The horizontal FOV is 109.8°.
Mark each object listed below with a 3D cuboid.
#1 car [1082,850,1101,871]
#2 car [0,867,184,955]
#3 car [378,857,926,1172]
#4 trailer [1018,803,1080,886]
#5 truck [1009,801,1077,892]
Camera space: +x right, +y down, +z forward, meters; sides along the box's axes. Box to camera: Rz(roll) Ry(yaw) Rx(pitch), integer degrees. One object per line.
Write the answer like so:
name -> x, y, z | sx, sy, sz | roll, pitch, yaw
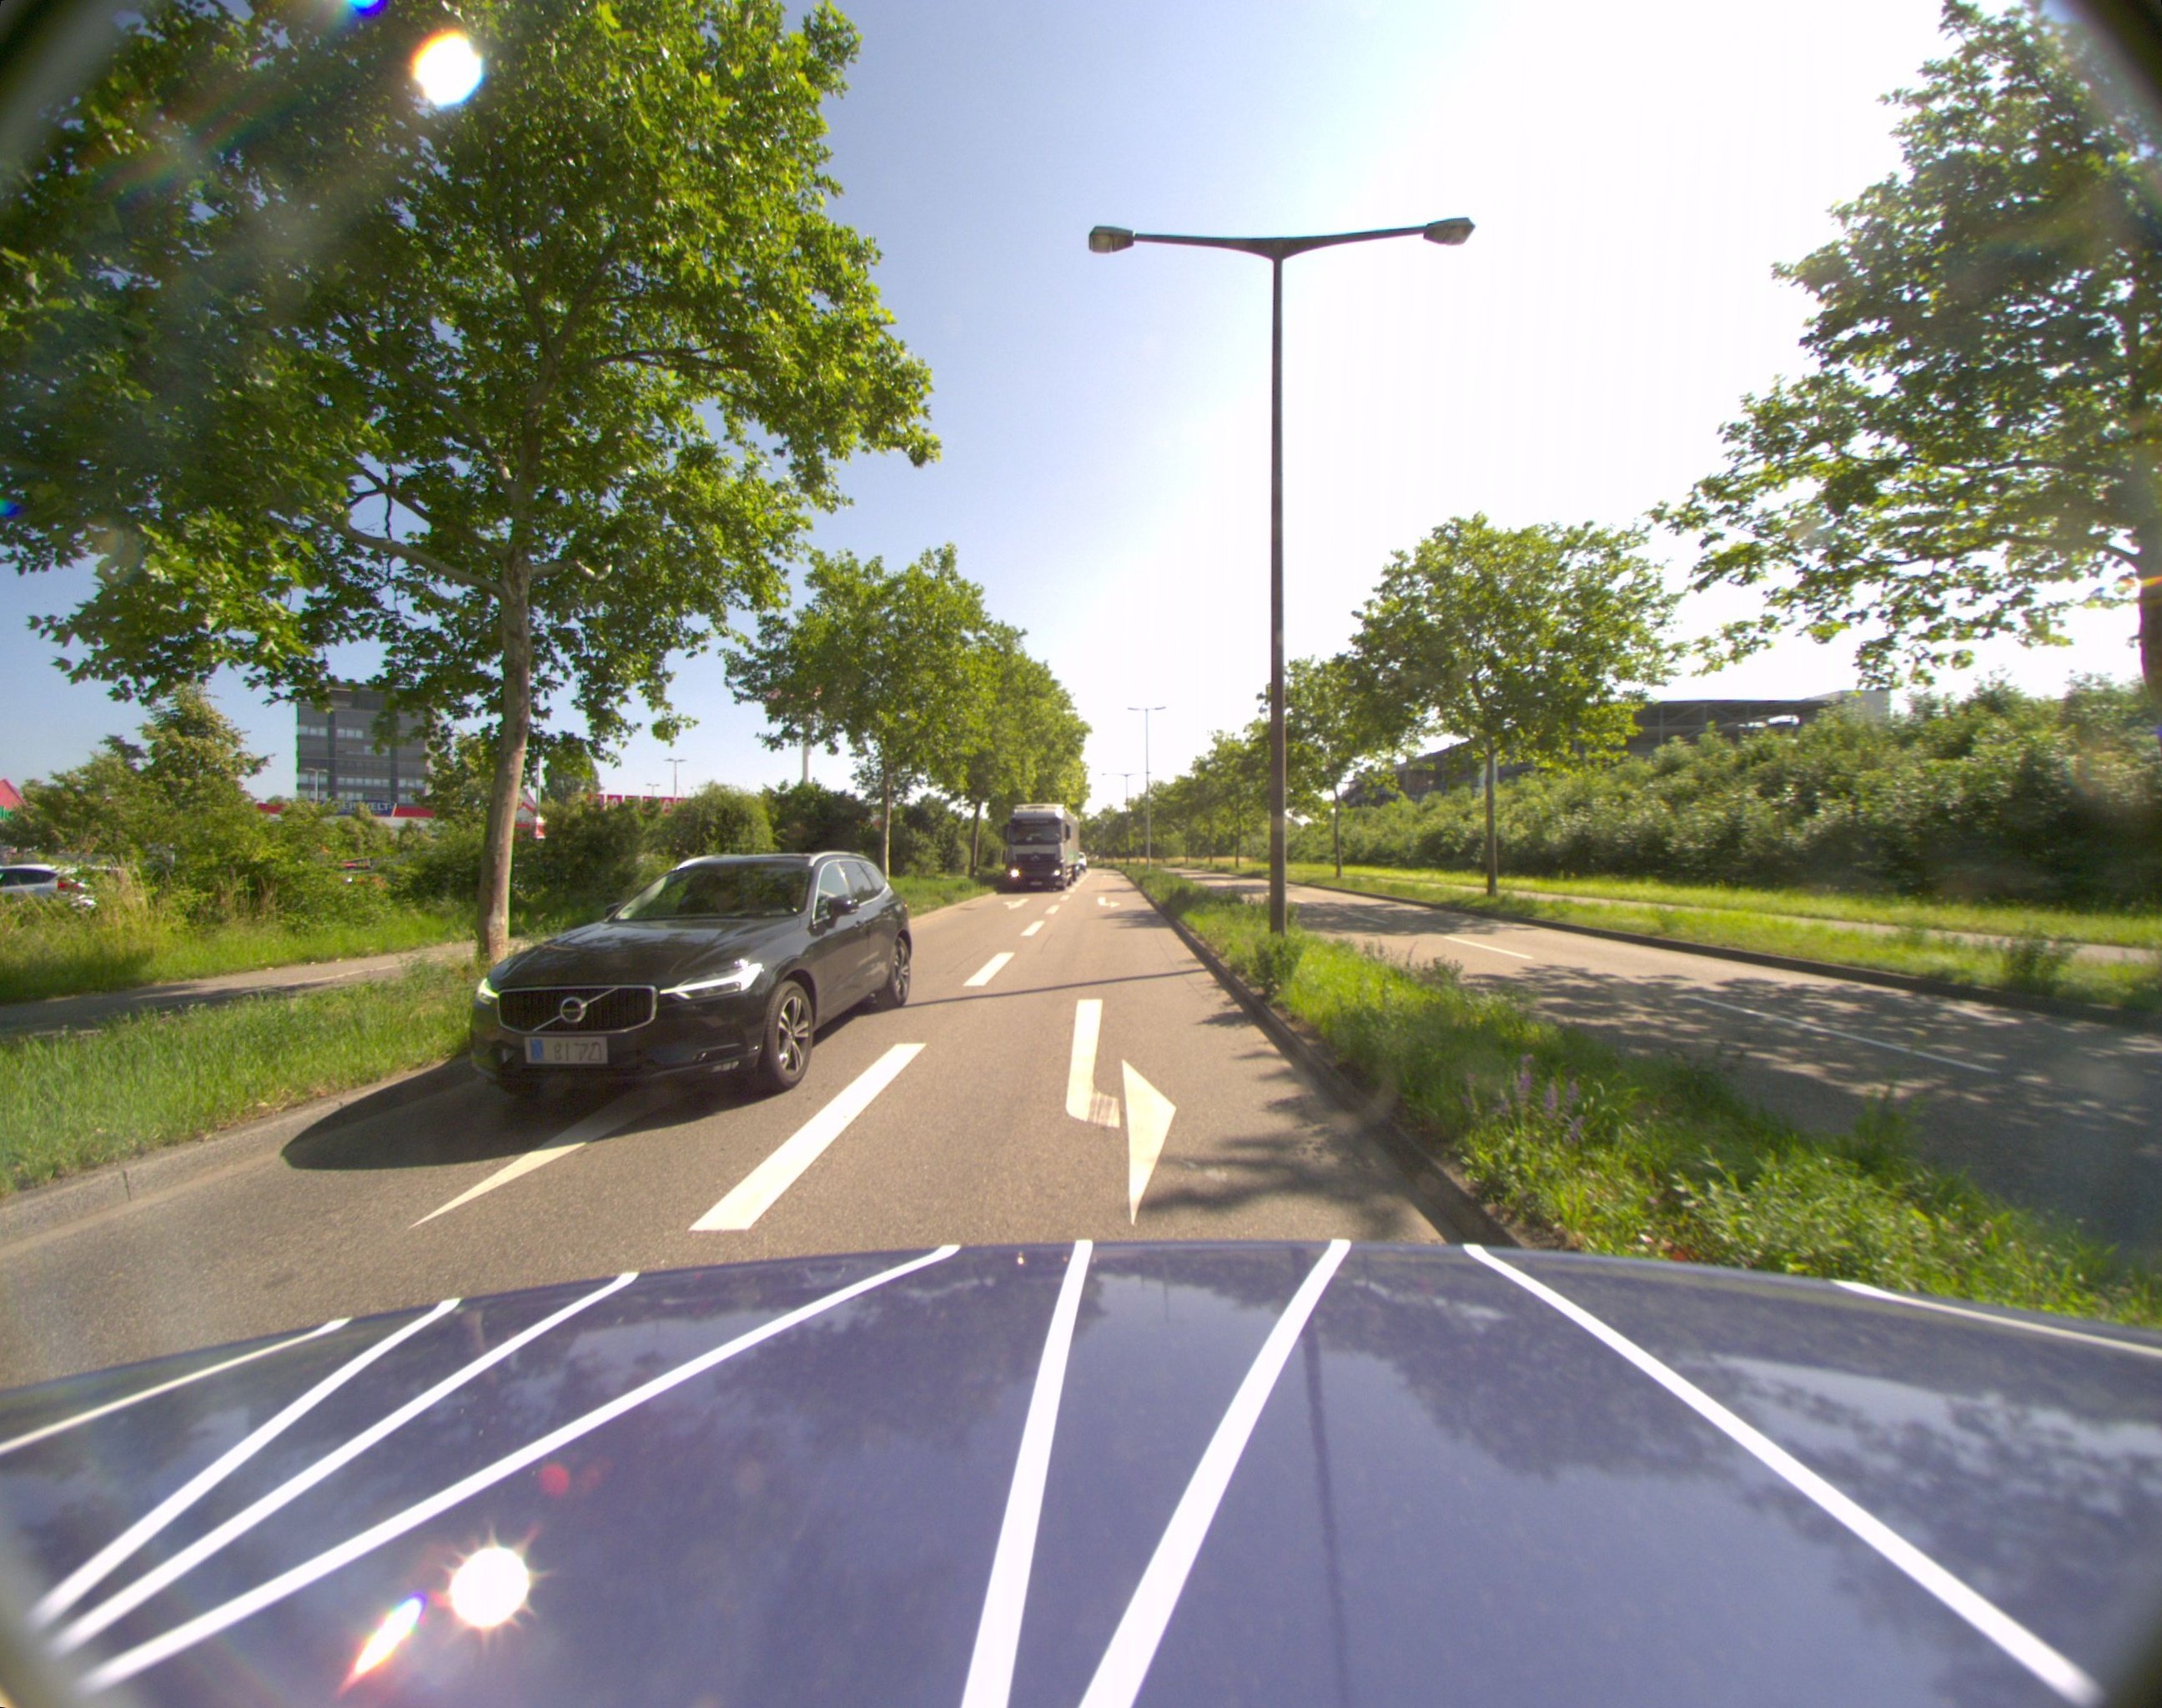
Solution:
car -> 0.990, 0.575, 73.327 | 1.691, 1.893, 4.000 | -1, 1, 1
car -> -21.885, 1.175, 16.062 | 3.558, 1.686, 1.718 | -1, 1, -4
car -> -2.788, 0.882, 6.395 | 1.924, 1.613, 4.564 | -1, 1, 1
trailer -> -1.577, -0.503, 42.958 | 2.805, 4.023, 10.796 | -1, 1, 1
truck -> -1.648, -0.360, 35.804 | 2.741, 3.872, 5.851 | -1, 1, 1
